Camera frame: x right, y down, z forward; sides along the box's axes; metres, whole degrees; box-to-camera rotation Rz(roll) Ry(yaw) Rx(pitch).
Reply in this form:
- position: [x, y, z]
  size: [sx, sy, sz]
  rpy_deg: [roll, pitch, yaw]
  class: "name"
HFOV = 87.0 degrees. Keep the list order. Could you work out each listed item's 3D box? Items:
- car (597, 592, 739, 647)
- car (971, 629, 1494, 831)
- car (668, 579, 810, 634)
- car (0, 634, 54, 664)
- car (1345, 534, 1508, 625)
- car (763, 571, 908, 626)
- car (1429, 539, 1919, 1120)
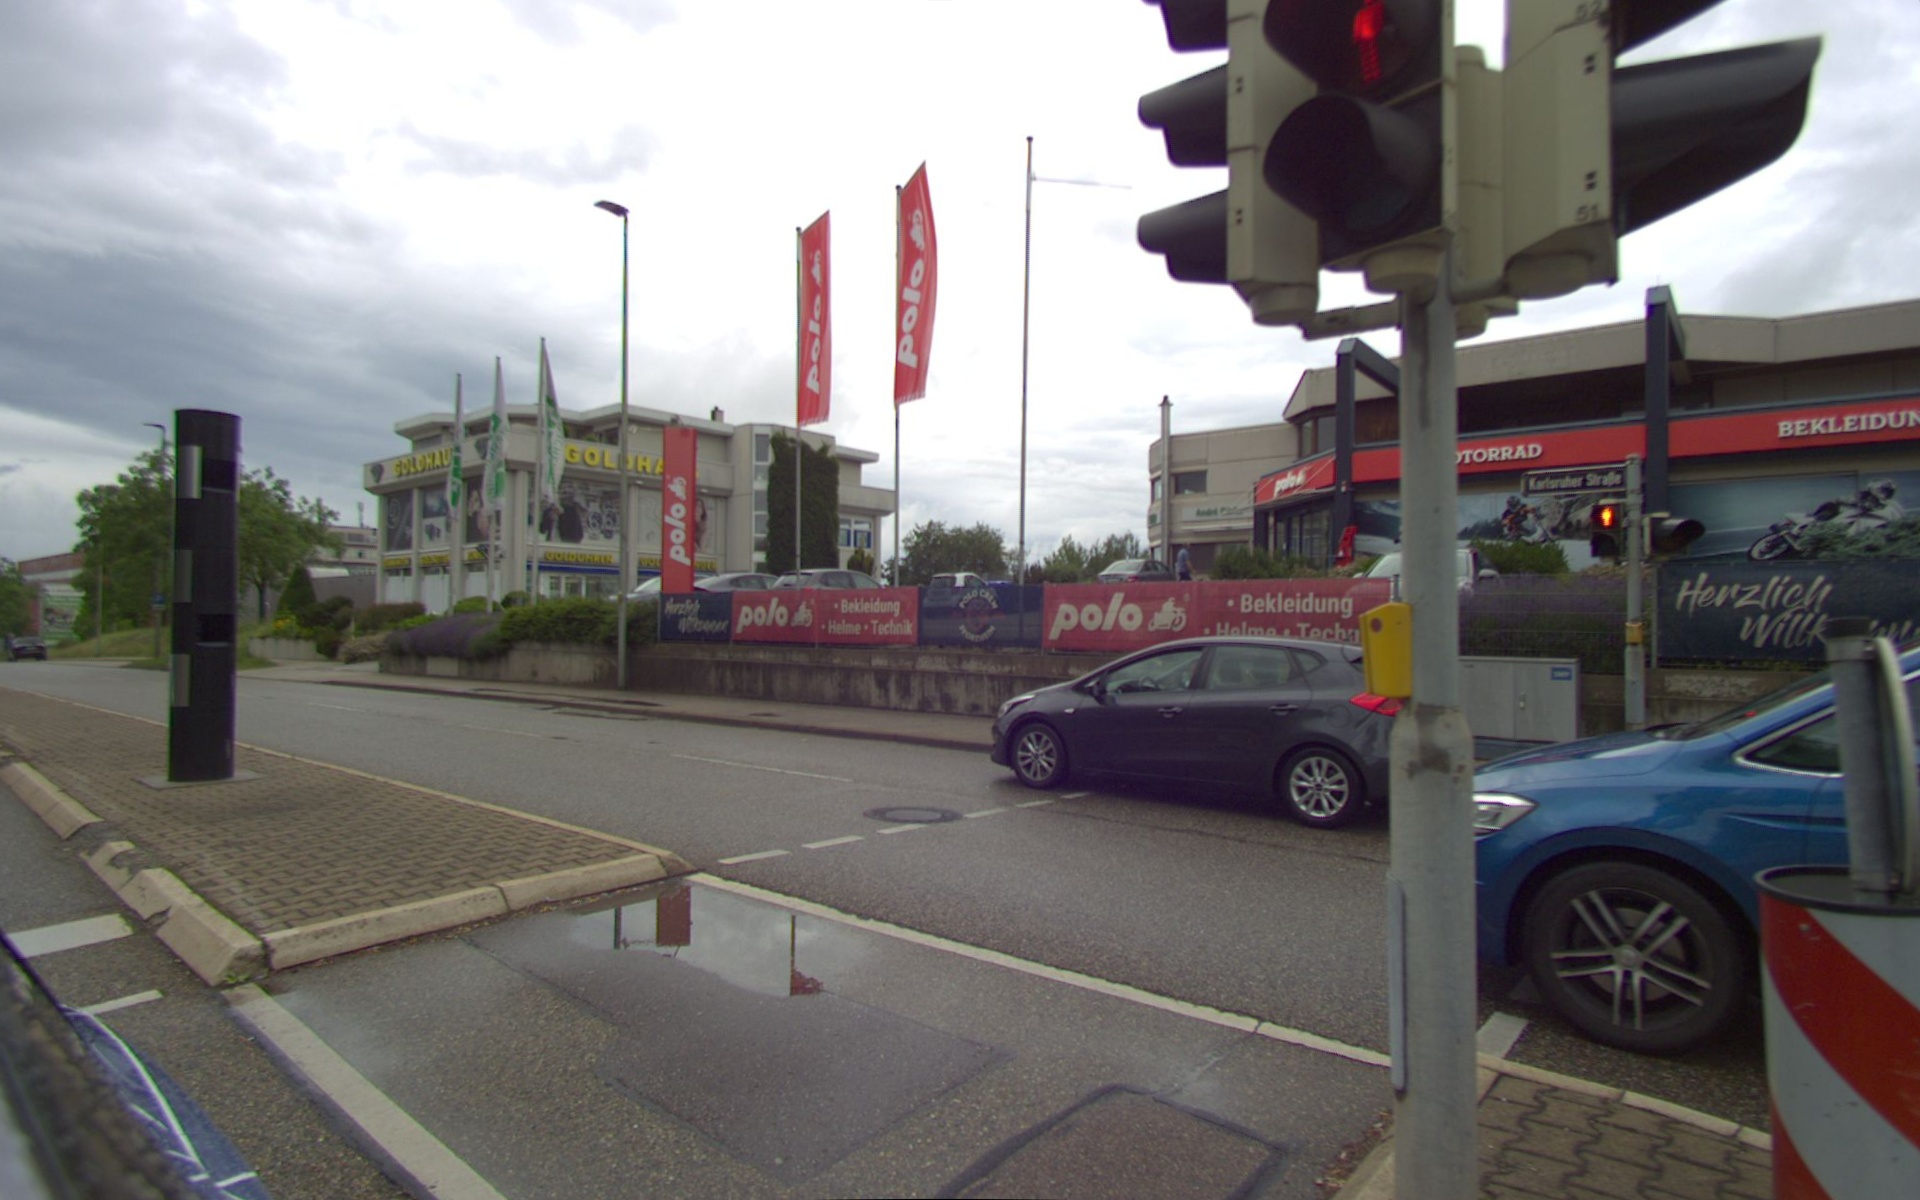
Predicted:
- position: [-7.653, 0.533, 26.723]
  size: [1.454, 1.347, 3.350]
  rpy_deg: [-2, -3, 41]
  class: "car"
- position: [2.282, 0.976, 9.082]
  size: [4.123, 1.390, 1.897]
  rpy_deg: [-1, -3, 41]
  class: "car"
- position: [-5.505, 0.216, 25.501]
  size: [1.452, 1.287, 3.353]
  rpy_deg: [-2, -3, 38]
  class: "car"
- position: [-64.679, 3.399, 70.093]
  size: [4.541, 1.905, 2.320]
  rpy_deg: [-4, -4, 41]
  class: "car"
- position: [7.041, -0.227, 15.129]
  size: [1.452, 1.176, 3.353]
  rpy_deg: [-2, -3, 38]
  class: "car"
- position: [-2.880, 0.003, 23.875]
  size: [1.452, 1.176, 3.353]
  rpy_deg: [-2, -3, 38]
  class: "car"
- position: [3.968, 0.677, 3.080]
  size: [4.294, 1.662, 1.821]
  rpy_deg: [-1, -3, 40]
  class: "car"
